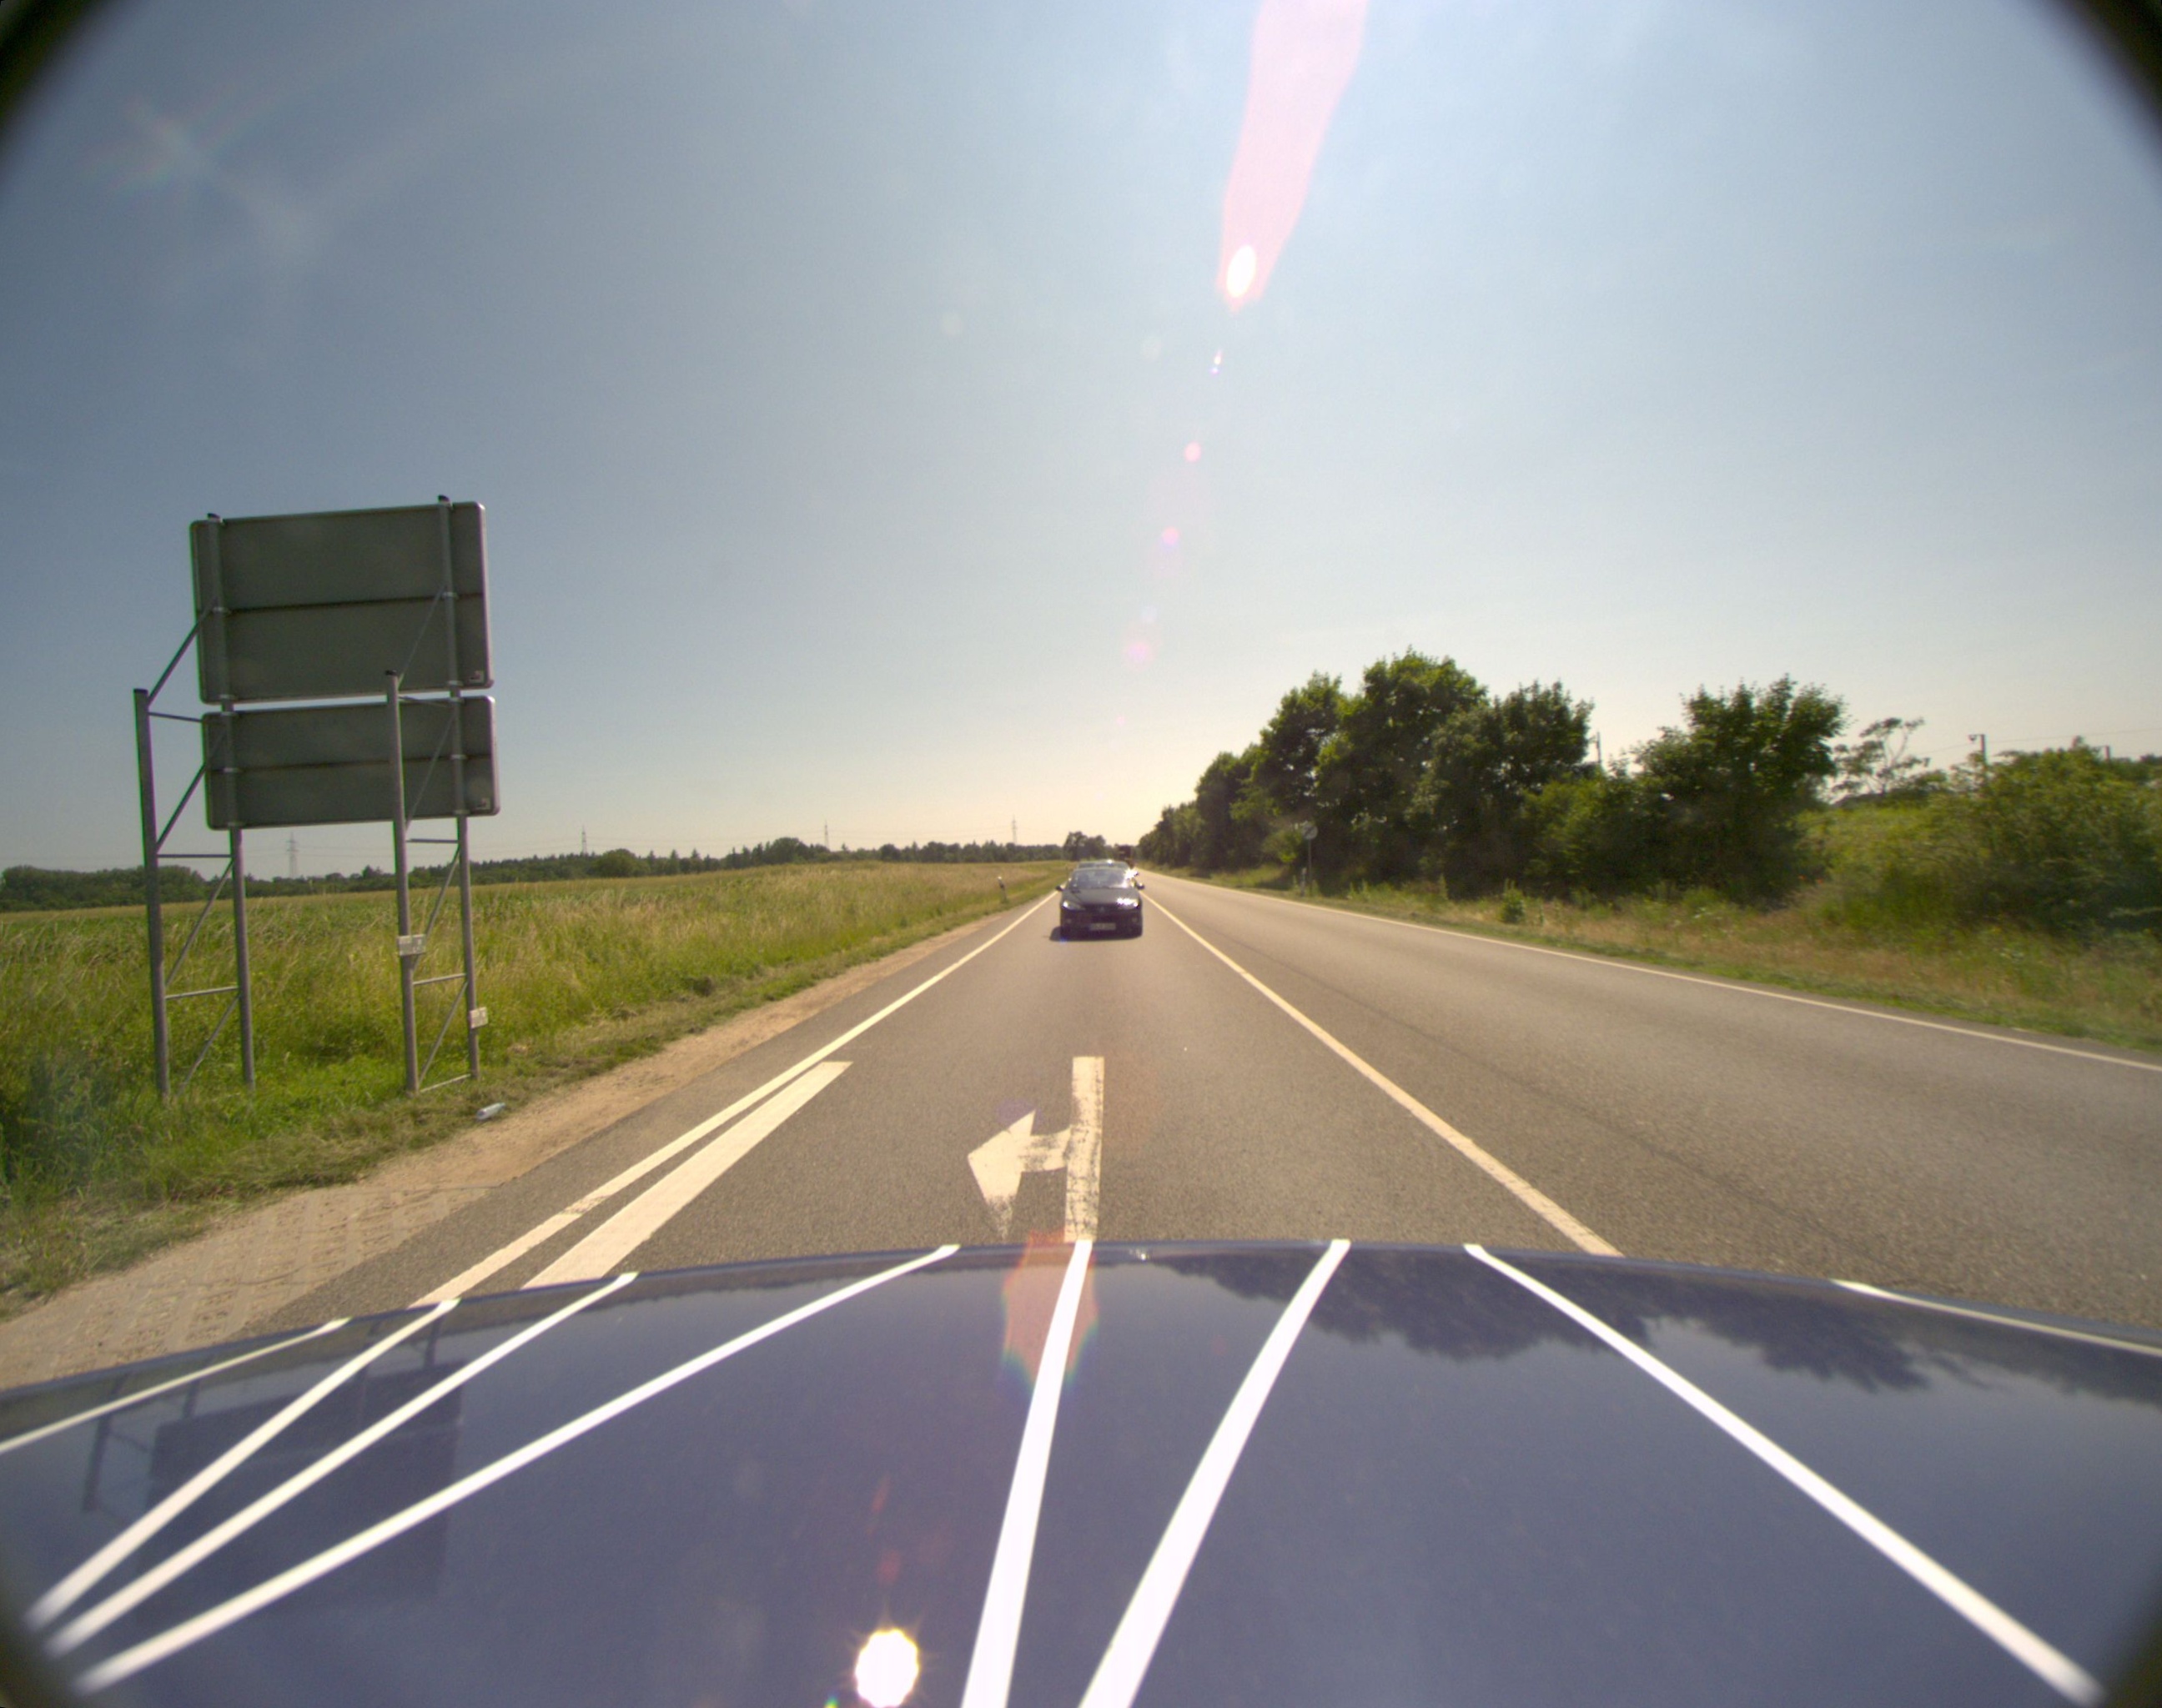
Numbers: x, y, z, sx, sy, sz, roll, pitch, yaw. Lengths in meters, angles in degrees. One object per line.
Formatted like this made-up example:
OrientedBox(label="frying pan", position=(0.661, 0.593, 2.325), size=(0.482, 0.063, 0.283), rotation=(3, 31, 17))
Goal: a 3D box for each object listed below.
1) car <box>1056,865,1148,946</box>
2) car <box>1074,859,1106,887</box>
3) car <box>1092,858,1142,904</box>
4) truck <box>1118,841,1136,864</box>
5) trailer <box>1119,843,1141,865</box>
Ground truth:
OrientedBox(label="car", position=(0.438, 0.983, 16.008), size=(1.665, 1.389, 3.732), rotation=(-2, 0, 2))
OrientedBox(label="car", position=(0.453, 1.038, 43.178), size=(1.665, 1.449, 4.173), rotation=(-2, 0, -1))
OrientedBox(label="car", position=(1.283, 0.948, 28.242), size=(1.665, 1.477, 3.731), rotation=(-2, 0, 0))
OrientedBox(label="truck", position=(7.947, -0.185, 132.648), size=(2.709, 3.908, 5.952), rotation=(-1, 0, 0))
OrientedBox(label="trailer", position=(7.940, 0.048, 125.009), size=(2.669, 3.440, 14.949), rotation=(-1, 0, 0))
